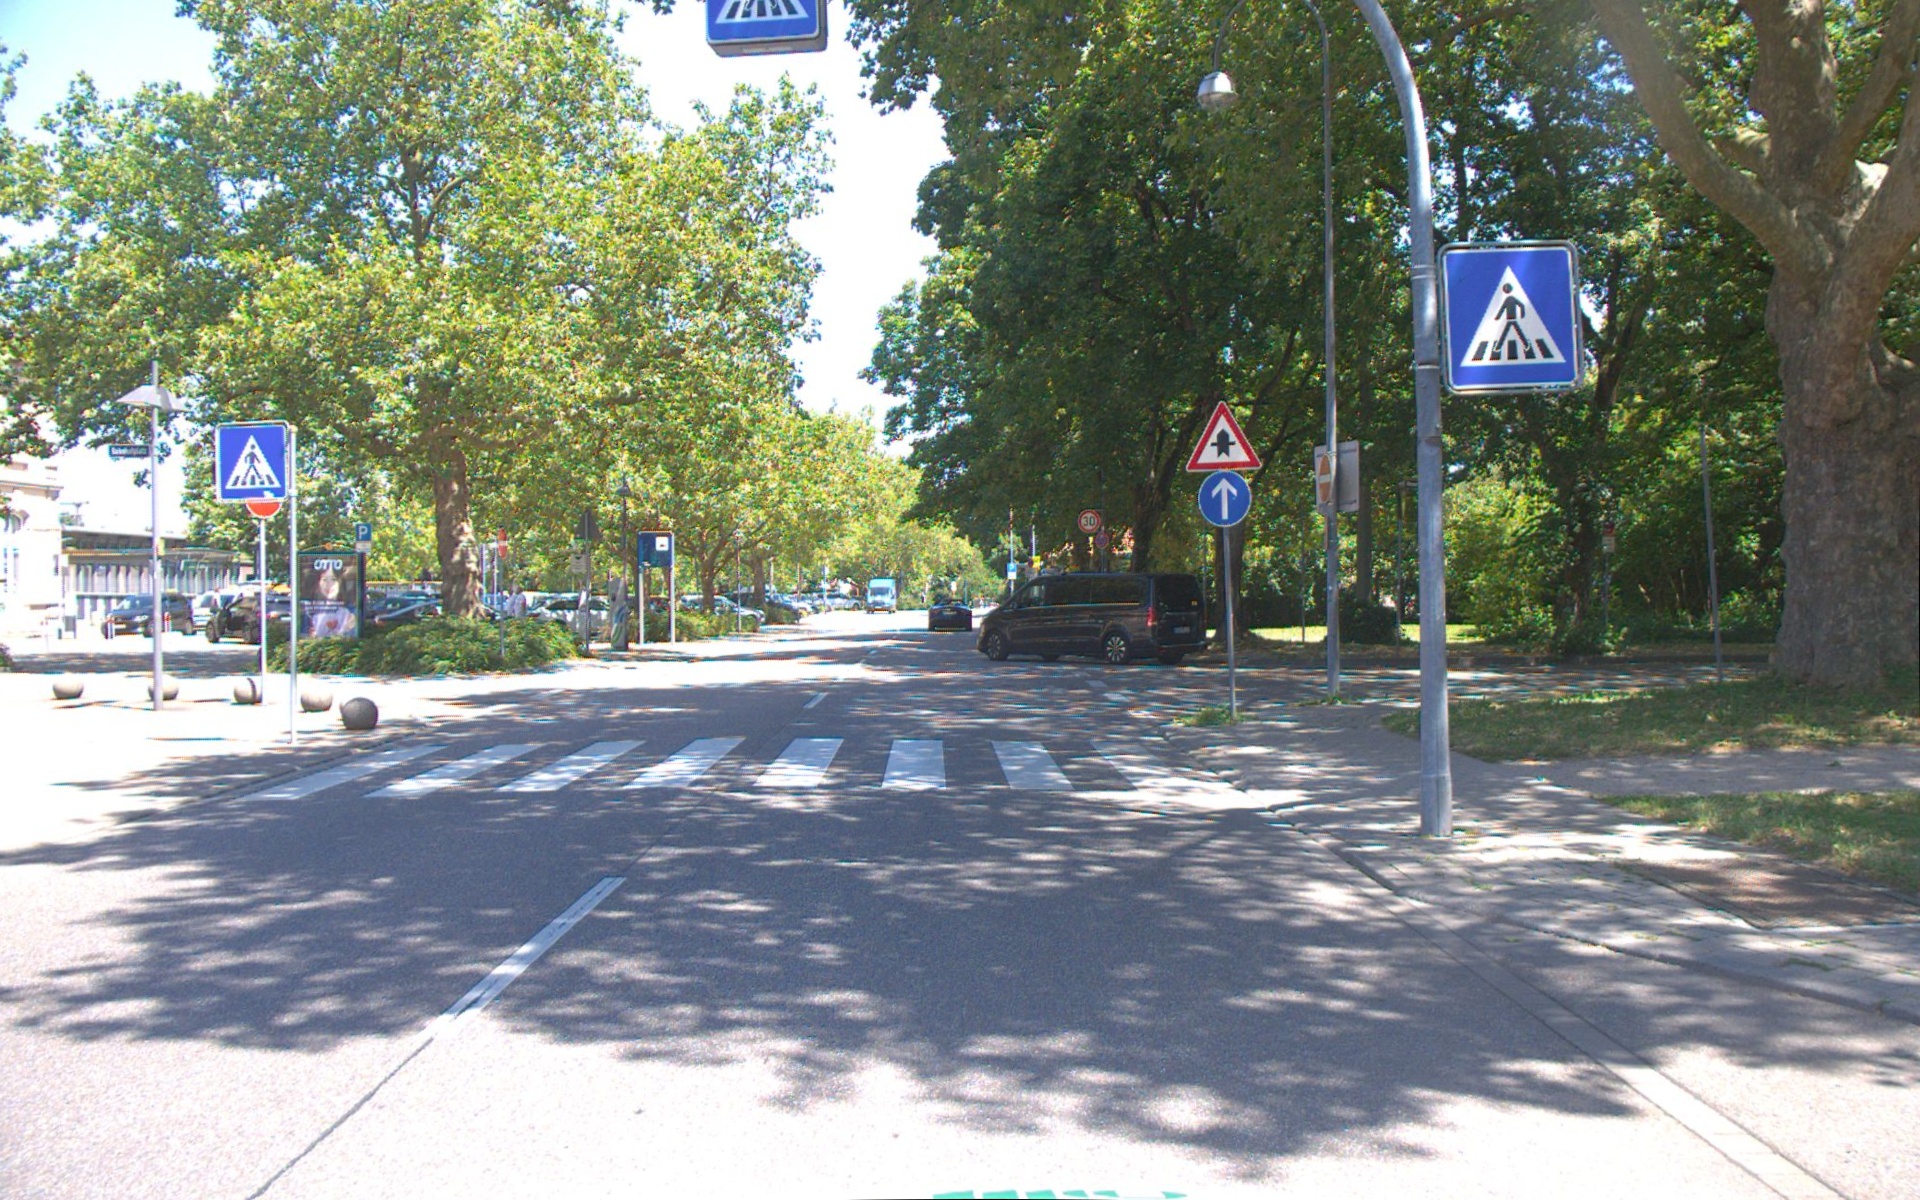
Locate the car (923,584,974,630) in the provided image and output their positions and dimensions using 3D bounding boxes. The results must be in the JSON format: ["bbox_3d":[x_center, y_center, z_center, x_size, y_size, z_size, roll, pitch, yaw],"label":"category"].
[{"bbox_3d":[-0.472,0.278,69.883,2.081,1.881,4.048,0,0,0],"label":"car"}]

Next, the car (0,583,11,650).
[{"bbox_3d":[-30.391,0.489,49.308,1.953,2.049,3.999,-1,-1,-1],"label":"car"}]

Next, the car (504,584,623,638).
[{"bbox_3d":[-13.984,0.384,58.274,3.927,1.813,1.989,0,-1,-19],"label":"car"}]

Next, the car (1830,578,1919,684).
[{"bbox_3d":[15.550,0.409,24.734,4.019,1.491,2.001,-1,1,3],"label":"car"}]

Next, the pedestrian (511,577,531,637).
[{"bbox_3d":[-15.034,0.253,56.655,0.614,2.049,0.568,0,-2,-15],"label":"pedestrian"}]
